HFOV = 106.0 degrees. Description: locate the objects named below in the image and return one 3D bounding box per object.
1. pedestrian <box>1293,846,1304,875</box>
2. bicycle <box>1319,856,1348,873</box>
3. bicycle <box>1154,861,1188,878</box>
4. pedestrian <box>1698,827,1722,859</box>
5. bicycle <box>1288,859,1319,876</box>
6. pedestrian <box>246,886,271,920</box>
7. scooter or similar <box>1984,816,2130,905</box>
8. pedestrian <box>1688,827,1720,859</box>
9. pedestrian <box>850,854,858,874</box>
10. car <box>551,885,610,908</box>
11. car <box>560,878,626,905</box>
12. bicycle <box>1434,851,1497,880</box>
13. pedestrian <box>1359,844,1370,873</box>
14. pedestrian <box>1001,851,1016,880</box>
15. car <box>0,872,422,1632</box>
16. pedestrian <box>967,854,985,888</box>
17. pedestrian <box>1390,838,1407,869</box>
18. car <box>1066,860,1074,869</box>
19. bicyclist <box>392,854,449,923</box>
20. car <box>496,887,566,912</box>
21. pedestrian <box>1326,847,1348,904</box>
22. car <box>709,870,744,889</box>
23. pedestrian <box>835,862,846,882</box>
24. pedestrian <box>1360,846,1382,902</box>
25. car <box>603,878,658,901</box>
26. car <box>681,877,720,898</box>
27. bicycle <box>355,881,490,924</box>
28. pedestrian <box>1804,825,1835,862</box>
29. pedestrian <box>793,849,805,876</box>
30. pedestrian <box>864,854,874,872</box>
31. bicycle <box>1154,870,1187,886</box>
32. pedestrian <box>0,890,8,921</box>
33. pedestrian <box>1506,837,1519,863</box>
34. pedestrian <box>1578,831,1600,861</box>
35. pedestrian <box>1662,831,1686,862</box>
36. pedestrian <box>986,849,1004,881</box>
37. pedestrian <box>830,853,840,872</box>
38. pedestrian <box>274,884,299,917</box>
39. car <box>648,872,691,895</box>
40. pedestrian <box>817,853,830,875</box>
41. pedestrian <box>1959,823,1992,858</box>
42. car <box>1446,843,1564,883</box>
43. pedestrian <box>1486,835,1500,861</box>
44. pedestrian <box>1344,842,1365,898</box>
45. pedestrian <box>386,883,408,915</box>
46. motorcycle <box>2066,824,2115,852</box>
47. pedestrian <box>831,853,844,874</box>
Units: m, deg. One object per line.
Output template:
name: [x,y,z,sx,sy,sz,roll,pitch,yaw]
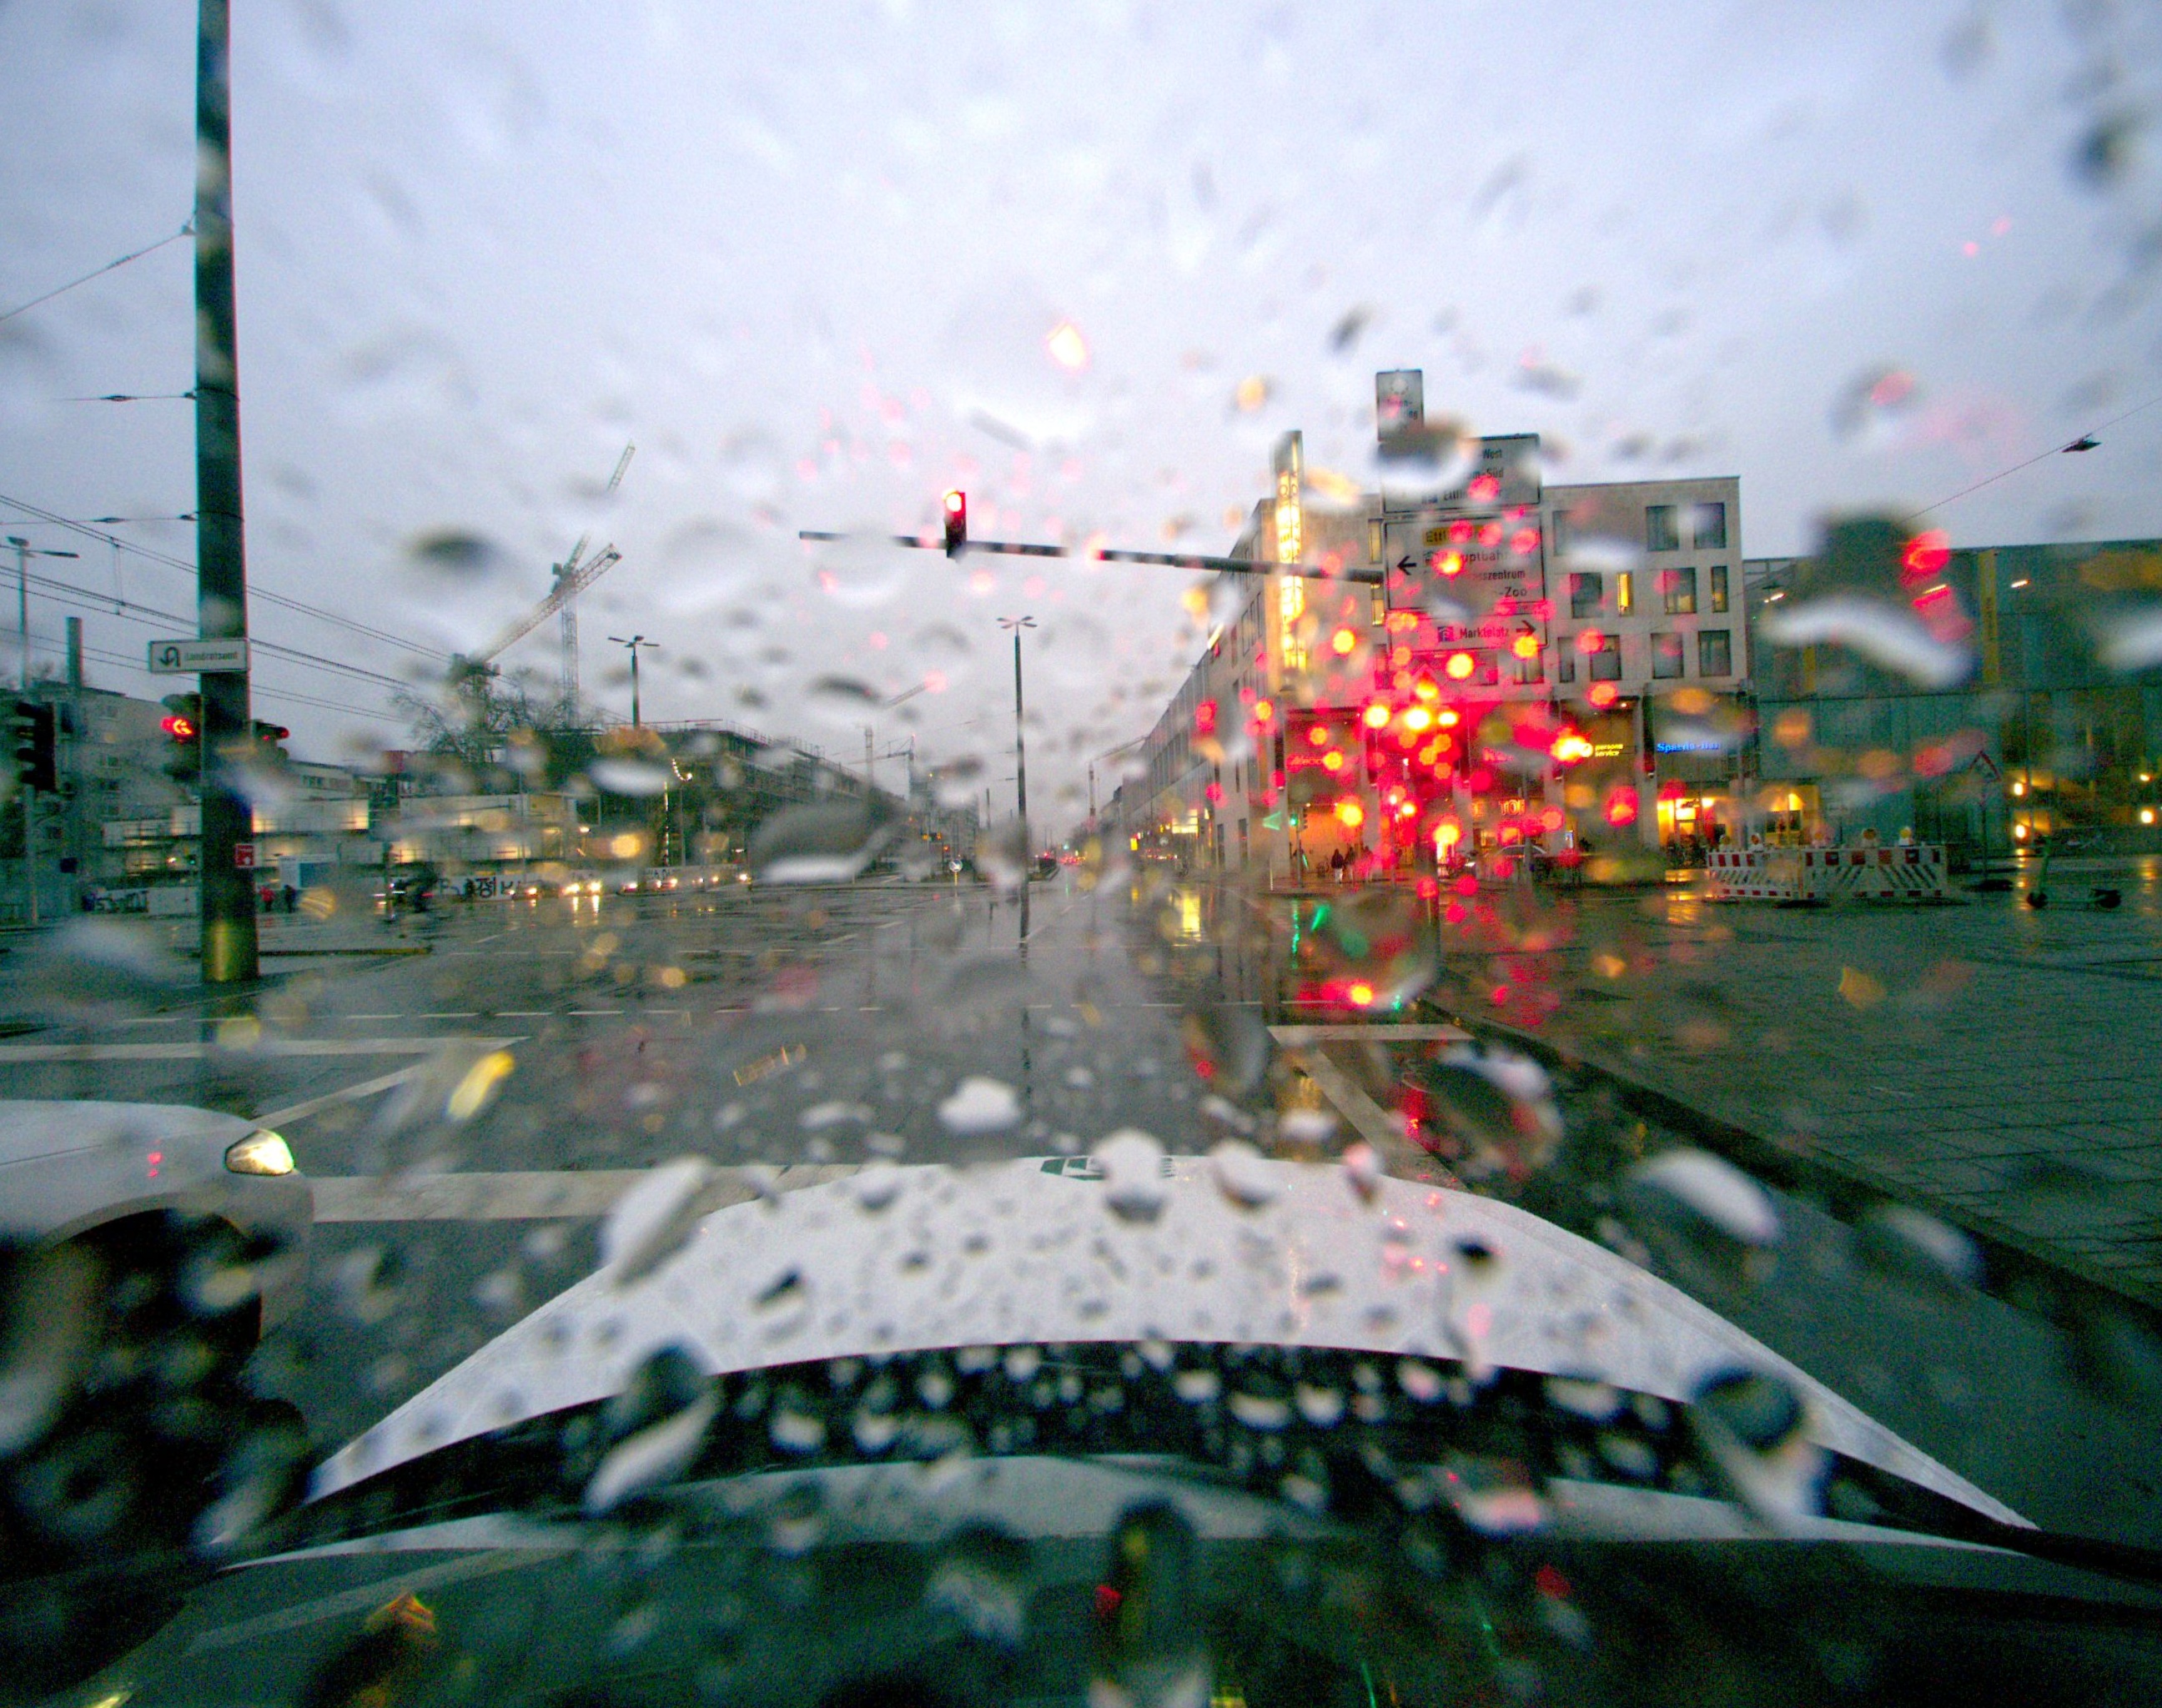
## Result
pedestrian: [13.347,0.410,49.911,0.596,1.745,0.526,-1,-1,10]
bicycle: [15.674,0.652,50.602,1.642,1.070,0.524,0,-1,-2]
bicycle: [6.801,1.158,61.596,2.434,1.154,0.674,-2,-1,0]
pedestrian: [35.305,-0.627,45.720,0.782,1.739,0.779,-3,-1,17]
bicycle: [13.808,0.844,50.517,1.763,1.070,0.524,0,-1,-3]
pedestrian: [-49.230,2.924,48.748,0.861,2.014,0.624,0,-1,-6]
scooter or similar: [15.695,0.103,13.154,0.590,1.352,1.495,0,0,2]
pedestrian: [32.482,-0.564,42.503,1.026,1.684,0.824,0,-1,1]
pedestrian: [-22.731,0.995,81.506,0.569,1.968,0.664,1,-1,-4]
car: [-38.997,3.295,63.583,1.986,1.530,4.001,-2,0,2]
car: [-33.639,2.576,56.289,1.986,1.657,4.001,-2,0,2]
bicycle: [19.253,0.576,40.794,2.705,1.359,0.957,-2,-1,-2]
pedestrian: [16.583,0.269,47.609,0.480,1.663,0.460,-3,-1,32]
pedestrian: [-4.293,0.687,48.235,0.605,1.686,0.581,-1,-1,44]
car: [-3.200,0.831,0.353,2.010,1.487,4.561,-2,0,1]
pedestrian: [-6.171,0.991,47.708,0.776,2.014,0.732,-1,-1,44]
pedestrian: [20.485,-0.030,52.526,0.841,2.013,0.700,-2,0,10]
car: [-2.280,2.251,174.511,1.572,2.013,3.170,-2,0,0]
bicyclist: [-18.550,0.947,22.895,1.165,1.871,0.737,0,-1,-34]
car: [-38.383,3.158,56.950,1.986,1.530,4.001,-2,0,2]
pedestrian: [11.170,0.932,35.585,0.712,2.441,0.758,0,-1,1]
car: [-35.434,2.502,81.592,1.990,1.790,3.994,0,-1,-4]
pedestrian: [-22.564,1.686,76.398,0.762,1.898,0.763,0,-2,1]
pedestrian: [12.927,0.887,36.273,0.691,2.448,0.792,0,-1,1]
car: [-34.275,2.638,62.088,2.074,1.530,4.603,-2,0,-7]
car: [-35.429,3.099,76.024,1.990,1.790,3.994,0,-1,-4]
bicycle: [-18.458,1.333,22.945,2.877,1.099,0.737,0,-1,-34]
pedestrian: [34.133,-0.458,37.640,0.737,1.684,0.783,0,-1,8]
pedestrian: [-24.032,0.755,69.477,0.762,2.323,0.763,0,-2,1]
pedestrian: [-23.896,1.048,91.924,0.940,2.014,1.092,0,-1,-5]
bicycle: [6.807,1.834,62.313,2.417,1.099,0.712,-2,-1,0]
pedestrian: [-69.065,3.296,51.747,0.788,1.902,0.717,-2,-1,0]
pedestrian: [28.162,-0.280,53.161,0.613,1.685,0.366,-2,-1,-2]
pedestrian: [29.373,-0.437,47.103,0.890,1.684,0.528,-2,-1,1]
pedestrian: [32.604,-0.389,44.783,0.737,1.684,0.783,0,-1,8]
pedestrian: [-4.947,0.616,46.749,0.826,1.831,0.778,0,-1,-29]
pedestrian: [-23.544,0.822,77.916,0.696,1.881,0.553,0,-1,1]
pedestrian: [-48.359,2.830,49.569,0.781,2.014,0.748,0,-1,6]
car: [-34.661,2.438,68.649,1.862,1.828,3.993,0,-1,-5]
pedestrian: [-24.456,0.935,77.419,0.940,2.014,1.092,0,-1,-5]
pedestrian: [43.988,-0.660,40.062,0.737,1.684,0.783,0,-1,8]
car: [17.920,0.382,34.566,3.970,1.618,2.001,0,-1,3]
pedestrian: [28.021,-0.428,55.411,0.728,1.718,0.743,-3,-1,29]
pedestrian: [12.131,0.714,36.106,0.687,2.441,0.758,0,-1,1]
pedestrian: [-47.650,3.130,56.709,0.872,2.165,0.763,0,-1,-7]
motorcycle: [48.241,-0.759,38.931,1.482,1.352,0.595,0,0,5]
pedestrian: [-23.628,0.942,79.045,0.939,2.014,1.094,0,-1,0]
